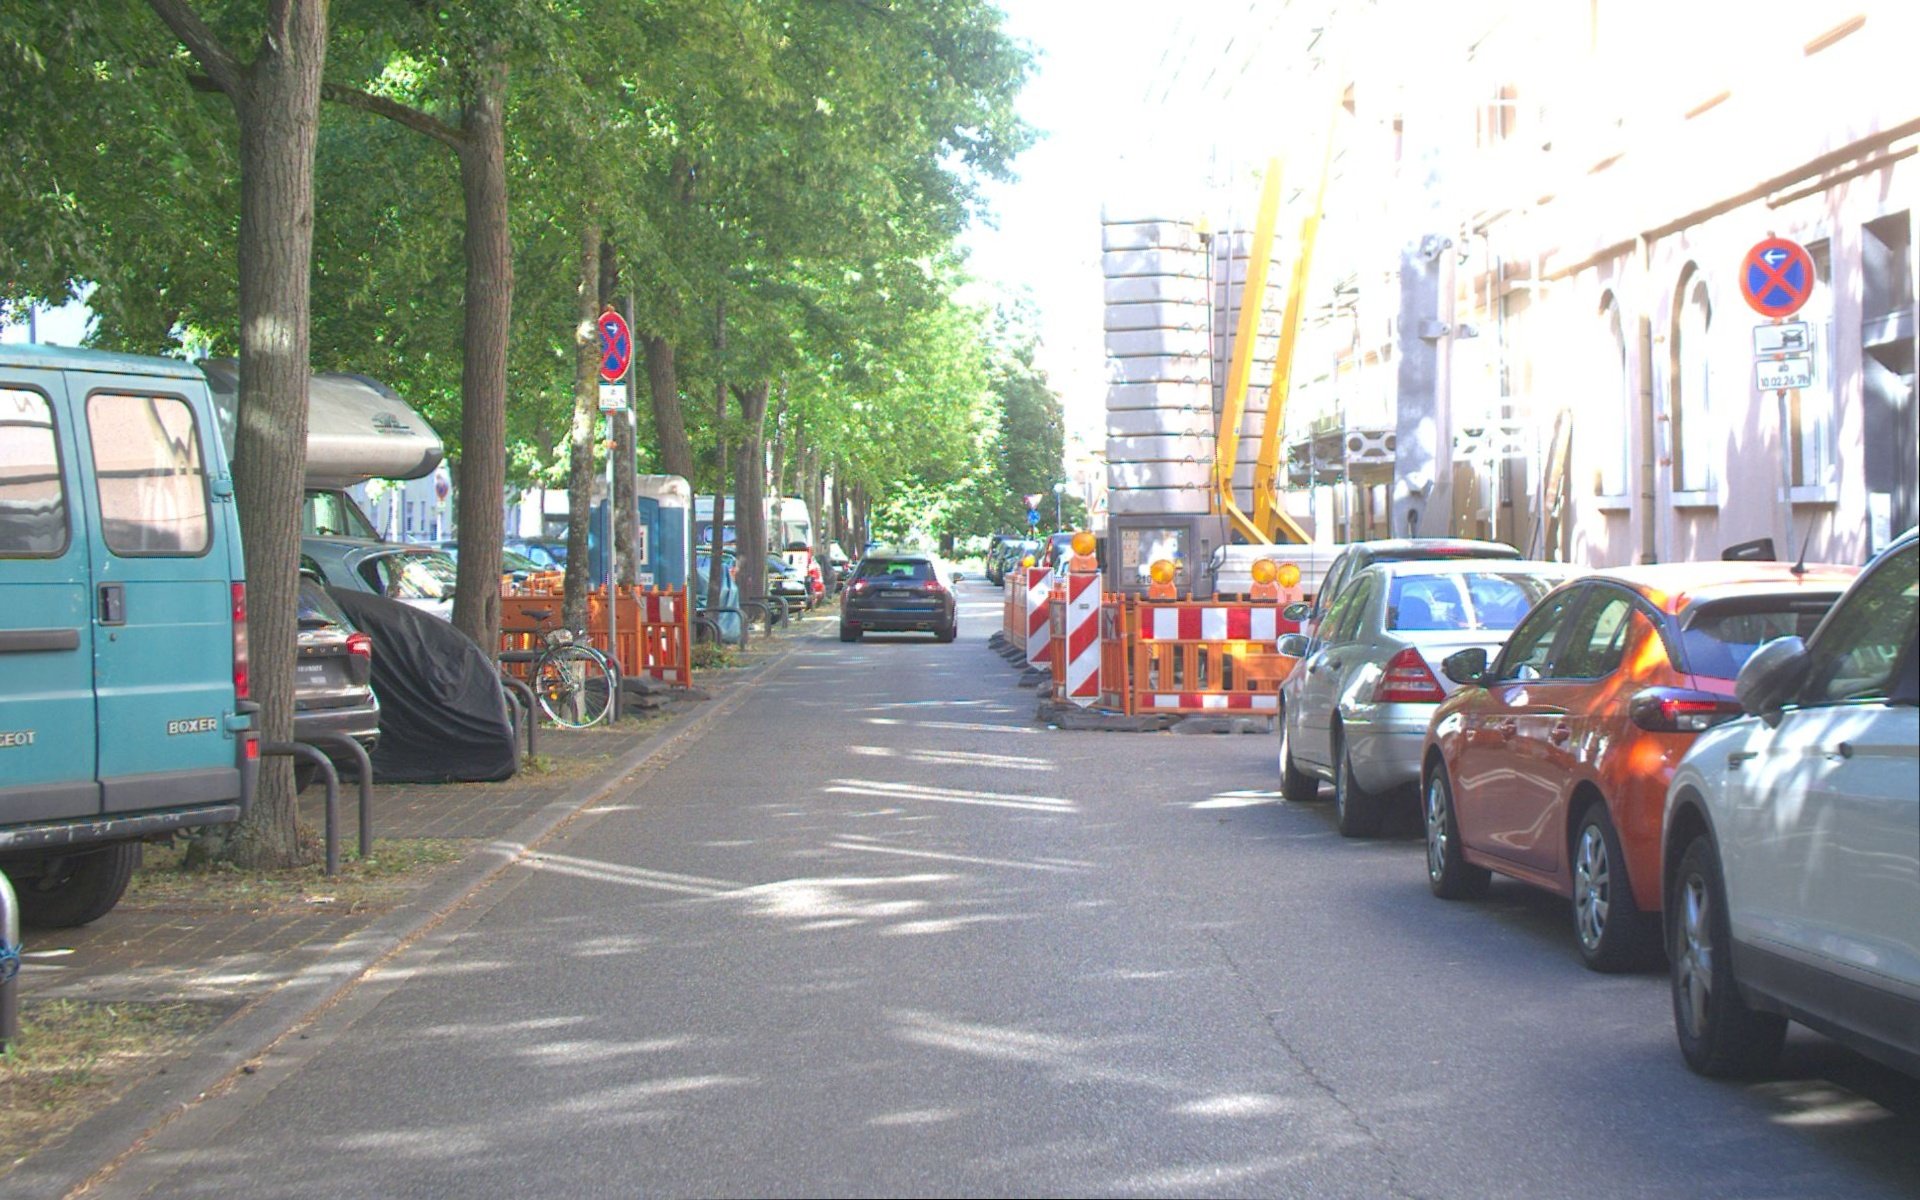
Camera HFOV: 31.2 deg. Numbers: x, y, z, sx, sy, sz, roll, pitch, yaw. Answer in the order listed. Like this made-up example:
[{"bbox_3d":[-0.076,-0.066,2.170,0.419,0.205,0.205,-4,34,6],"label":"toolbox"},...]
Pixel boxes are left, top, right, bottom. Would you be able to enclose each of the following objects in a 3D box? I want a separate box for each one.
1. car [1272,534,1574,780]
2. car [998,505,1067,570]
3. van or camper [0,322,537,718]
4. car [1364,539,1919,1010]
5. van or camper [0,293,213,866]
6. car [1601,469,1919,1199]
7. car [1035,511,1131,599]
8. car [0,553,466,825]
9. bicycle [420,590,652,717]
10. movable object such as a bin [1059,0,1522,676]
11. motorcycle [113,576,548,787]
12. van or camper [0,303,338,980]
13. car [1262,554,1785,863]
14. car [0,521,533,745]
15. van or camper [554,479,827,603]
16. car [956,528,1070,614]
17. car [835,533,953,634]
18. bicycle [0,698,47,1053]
[{"bbox_3d":[3.073,0.335,23.254,1.591,1.525,2.781,-1,1,-1],"label":"car"},{"bbox_3d":[2.082,-1.826,99.935,1.797,1.794,3.586,-2,2,-1],"label":"car"},{"bbox_3d":[-7.298,-0.656,30.751,6.666,3.229,2.492,-1,2,28],"label":"van or camper"},{"bbox_3d":[2.893,0.550,13.570,1.790,1.518,3.965,-1,1,-5],"label":"car"},{"bbox_3d":[-6.842,-0.071,17.435,5.877,2.628,2.252,-1,2,29],"label":"van or camper"},{"bbox_3d":[2.923,0.512,8.321,1.816,1.668,4.674,-1,1,0],"label":"car"},{"bbox_3d":[2.604,-0.986,73.530,1.797,1.794,3.586,-2,2,-1],"label":"car"},{"bbox_3d":[-5.042,0.477,19.951,3.959,1.409,1.820,-1,1,27],"label":"car"},{"bbox_3d":[-3.465,0.436,28.055,1.899,1.003,0.430,-1,1,23],"label":"bicycle"},{"bbox_3d":[3.043,-2.744,31.556,3.485,6.736,2.364,0,1,32],"label":"movable object such as a bin"},{"bbox_3d":[-3.941,0.504,21.606,2.550,1.254,0.763,-1,1,8],"label":"motorcycle"},{"bbox_3d":[-5.409,0.150,13.408,5.504,2.267,2.218,-1,2,24],"label":"van or camper"},{"bbox_3d":[2.907,0.489,18.759,1.993,1.404,4.501,-1,2,-1],"label":"car"},{"bbox_3d":[-5.521,0.240,26.804,3.958,1.623,1.821,-1,1,25],"label":"car"},{"bbox_3d":[-5.691,-1.239,72.428,5.342,2.466,2.290,-1,2,32],"label":"van or camper"},{"bbox_3d":[0.889,-0.522,59.482,1.797,1.380,3.586,-2,2,-1],"label":"car"},{"bbox_3d":[-1.069,-0.287,55.408,1.797,1.498,3.586,-2,2,-1],"label":"car"},{"bbox_3d":[-3.524,0.823,9.718,1.719,1.002,0.511,-2,1,-30],"label":"bicycle"}]
